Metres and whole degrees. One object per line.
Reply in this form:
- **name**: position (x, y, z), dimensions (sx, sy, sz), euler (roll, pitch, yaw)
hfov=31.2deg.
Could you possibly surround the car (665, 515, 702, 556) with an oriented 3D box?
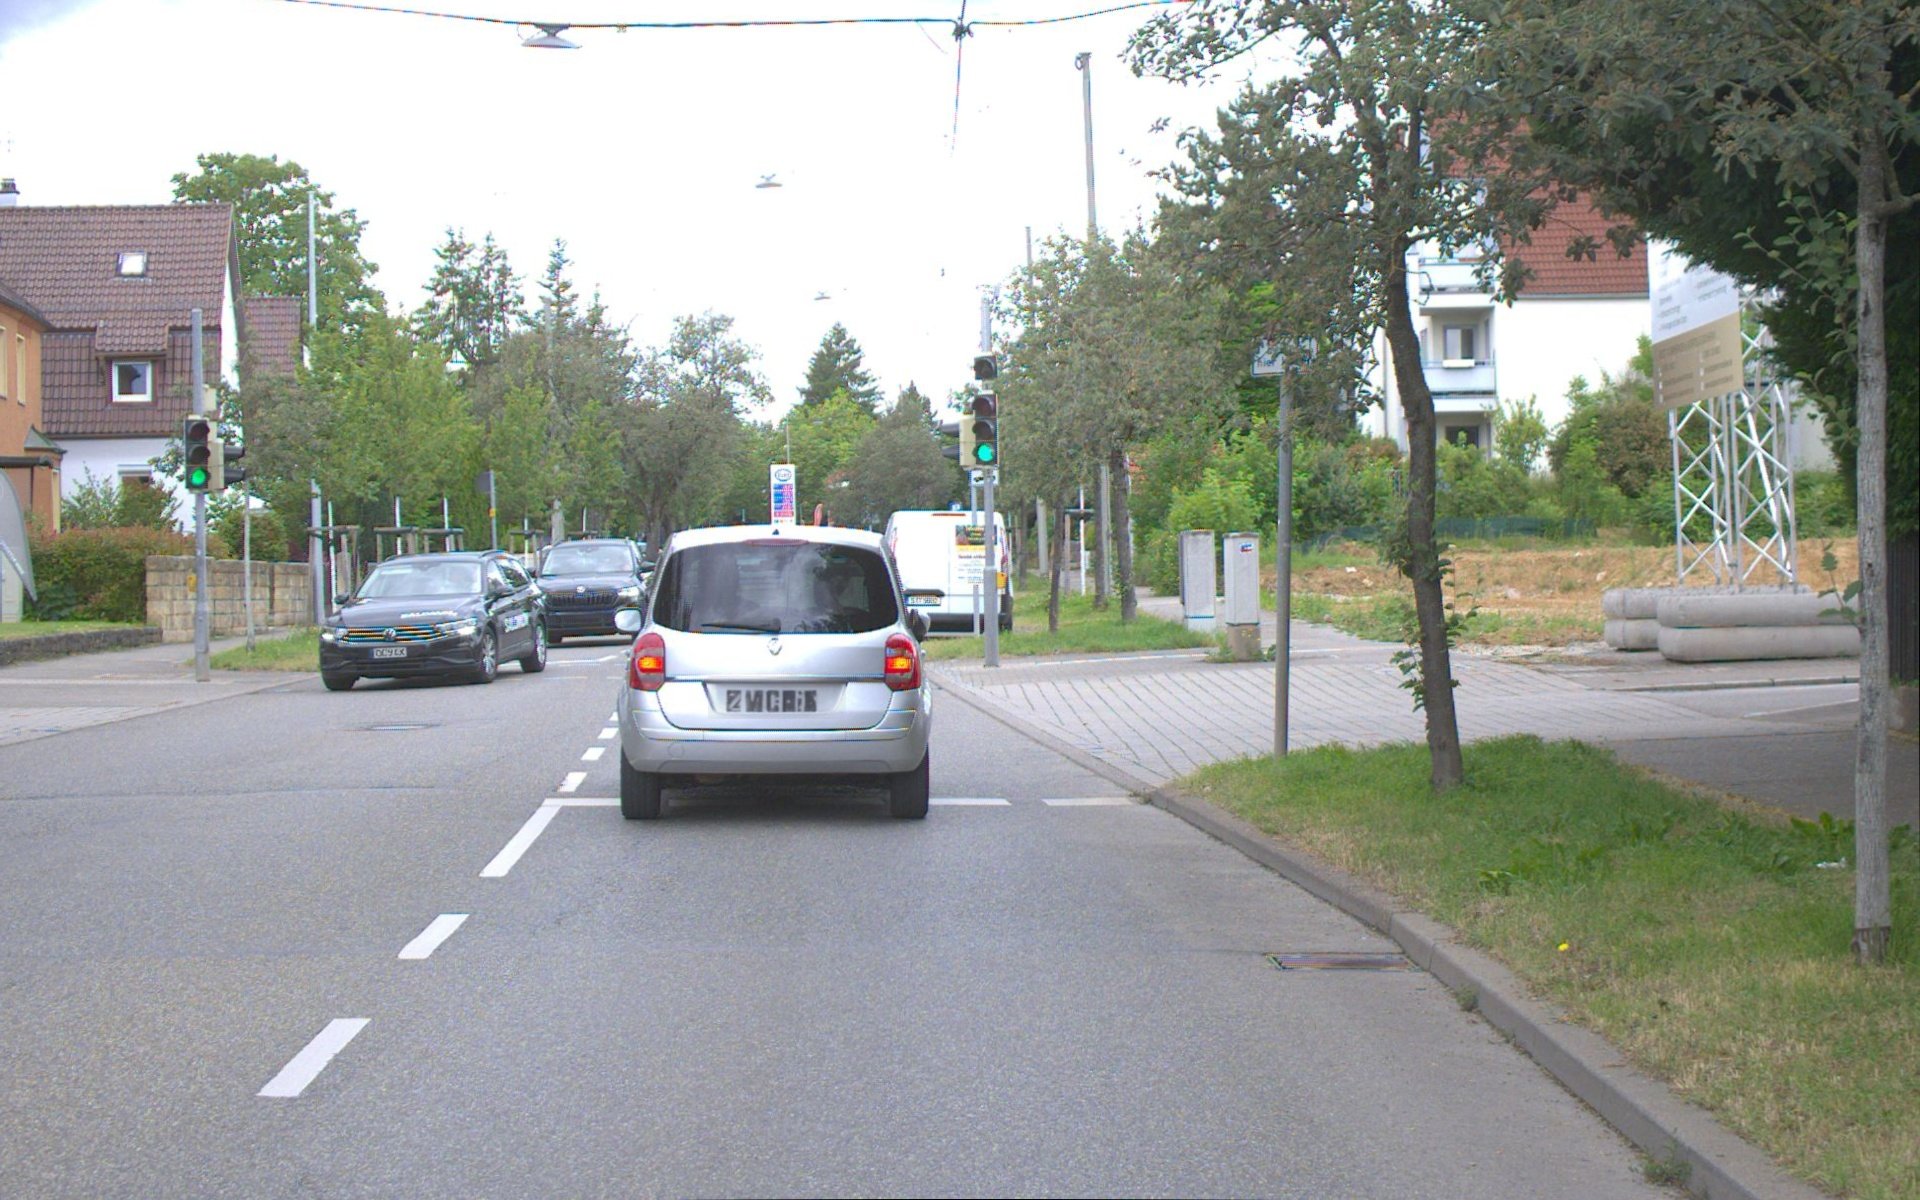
- **car**: position (-18.331, -4.284, 227.852), dimensions (2.073, 2.573, 5.300), euler (-3, 1, -2)

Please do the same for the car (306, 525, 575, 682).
- **car**: position (-5.780, -0.010, 38.816), dimensions (1.994, 1.615, 4.647), euler (-1, 1, 4)

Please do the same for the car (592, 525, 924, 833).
- **car**: position (-1.067, 0.378, 19.368), dimensions (1.679, 1.554, 3.512), euler (1, 1, -1)

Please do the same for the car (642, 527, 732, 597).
- **car**: position (-6.191, -0.883, 78.218), dimensions (1.616, 1.467, 4.000), euler (-3, 1, 0)

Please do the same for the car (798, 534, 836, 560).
- **car**: position (-8.226, -3.056, 197.761), dimensions (1.695, 1.501, 3.974), euler (-1, 1, -9)

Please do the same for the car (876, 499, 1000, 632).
- **car**: position (-0.379, -0.550, 52.700), dimensions (1.775, 1.937, 4.789), euler (0, 1, -2)

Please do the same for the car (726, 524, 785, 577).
- **car**: position (-6.962, -1.690, 117.318), dimensions (1.813, 1.687, 4.466), euler (-3, 1, -2)

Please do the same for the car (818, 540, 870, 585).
- **car**: position (-4.767, -1.550, 140.486), dimensions (1.835, 1.708, 4.001), euler (-2, 1, -5)

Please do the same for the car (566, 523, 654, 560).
- **car**: position (-16.970, -2.842, 166.802), dimensions (4.086, 1.700, 1.747), euler (-1, 1, -1)

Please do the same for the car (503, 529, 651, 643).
- **car**: position (-5.825, -0.246, 52.718), dimensions (1.895, 1.619, 4.001), euler (-1, 1, -2)
